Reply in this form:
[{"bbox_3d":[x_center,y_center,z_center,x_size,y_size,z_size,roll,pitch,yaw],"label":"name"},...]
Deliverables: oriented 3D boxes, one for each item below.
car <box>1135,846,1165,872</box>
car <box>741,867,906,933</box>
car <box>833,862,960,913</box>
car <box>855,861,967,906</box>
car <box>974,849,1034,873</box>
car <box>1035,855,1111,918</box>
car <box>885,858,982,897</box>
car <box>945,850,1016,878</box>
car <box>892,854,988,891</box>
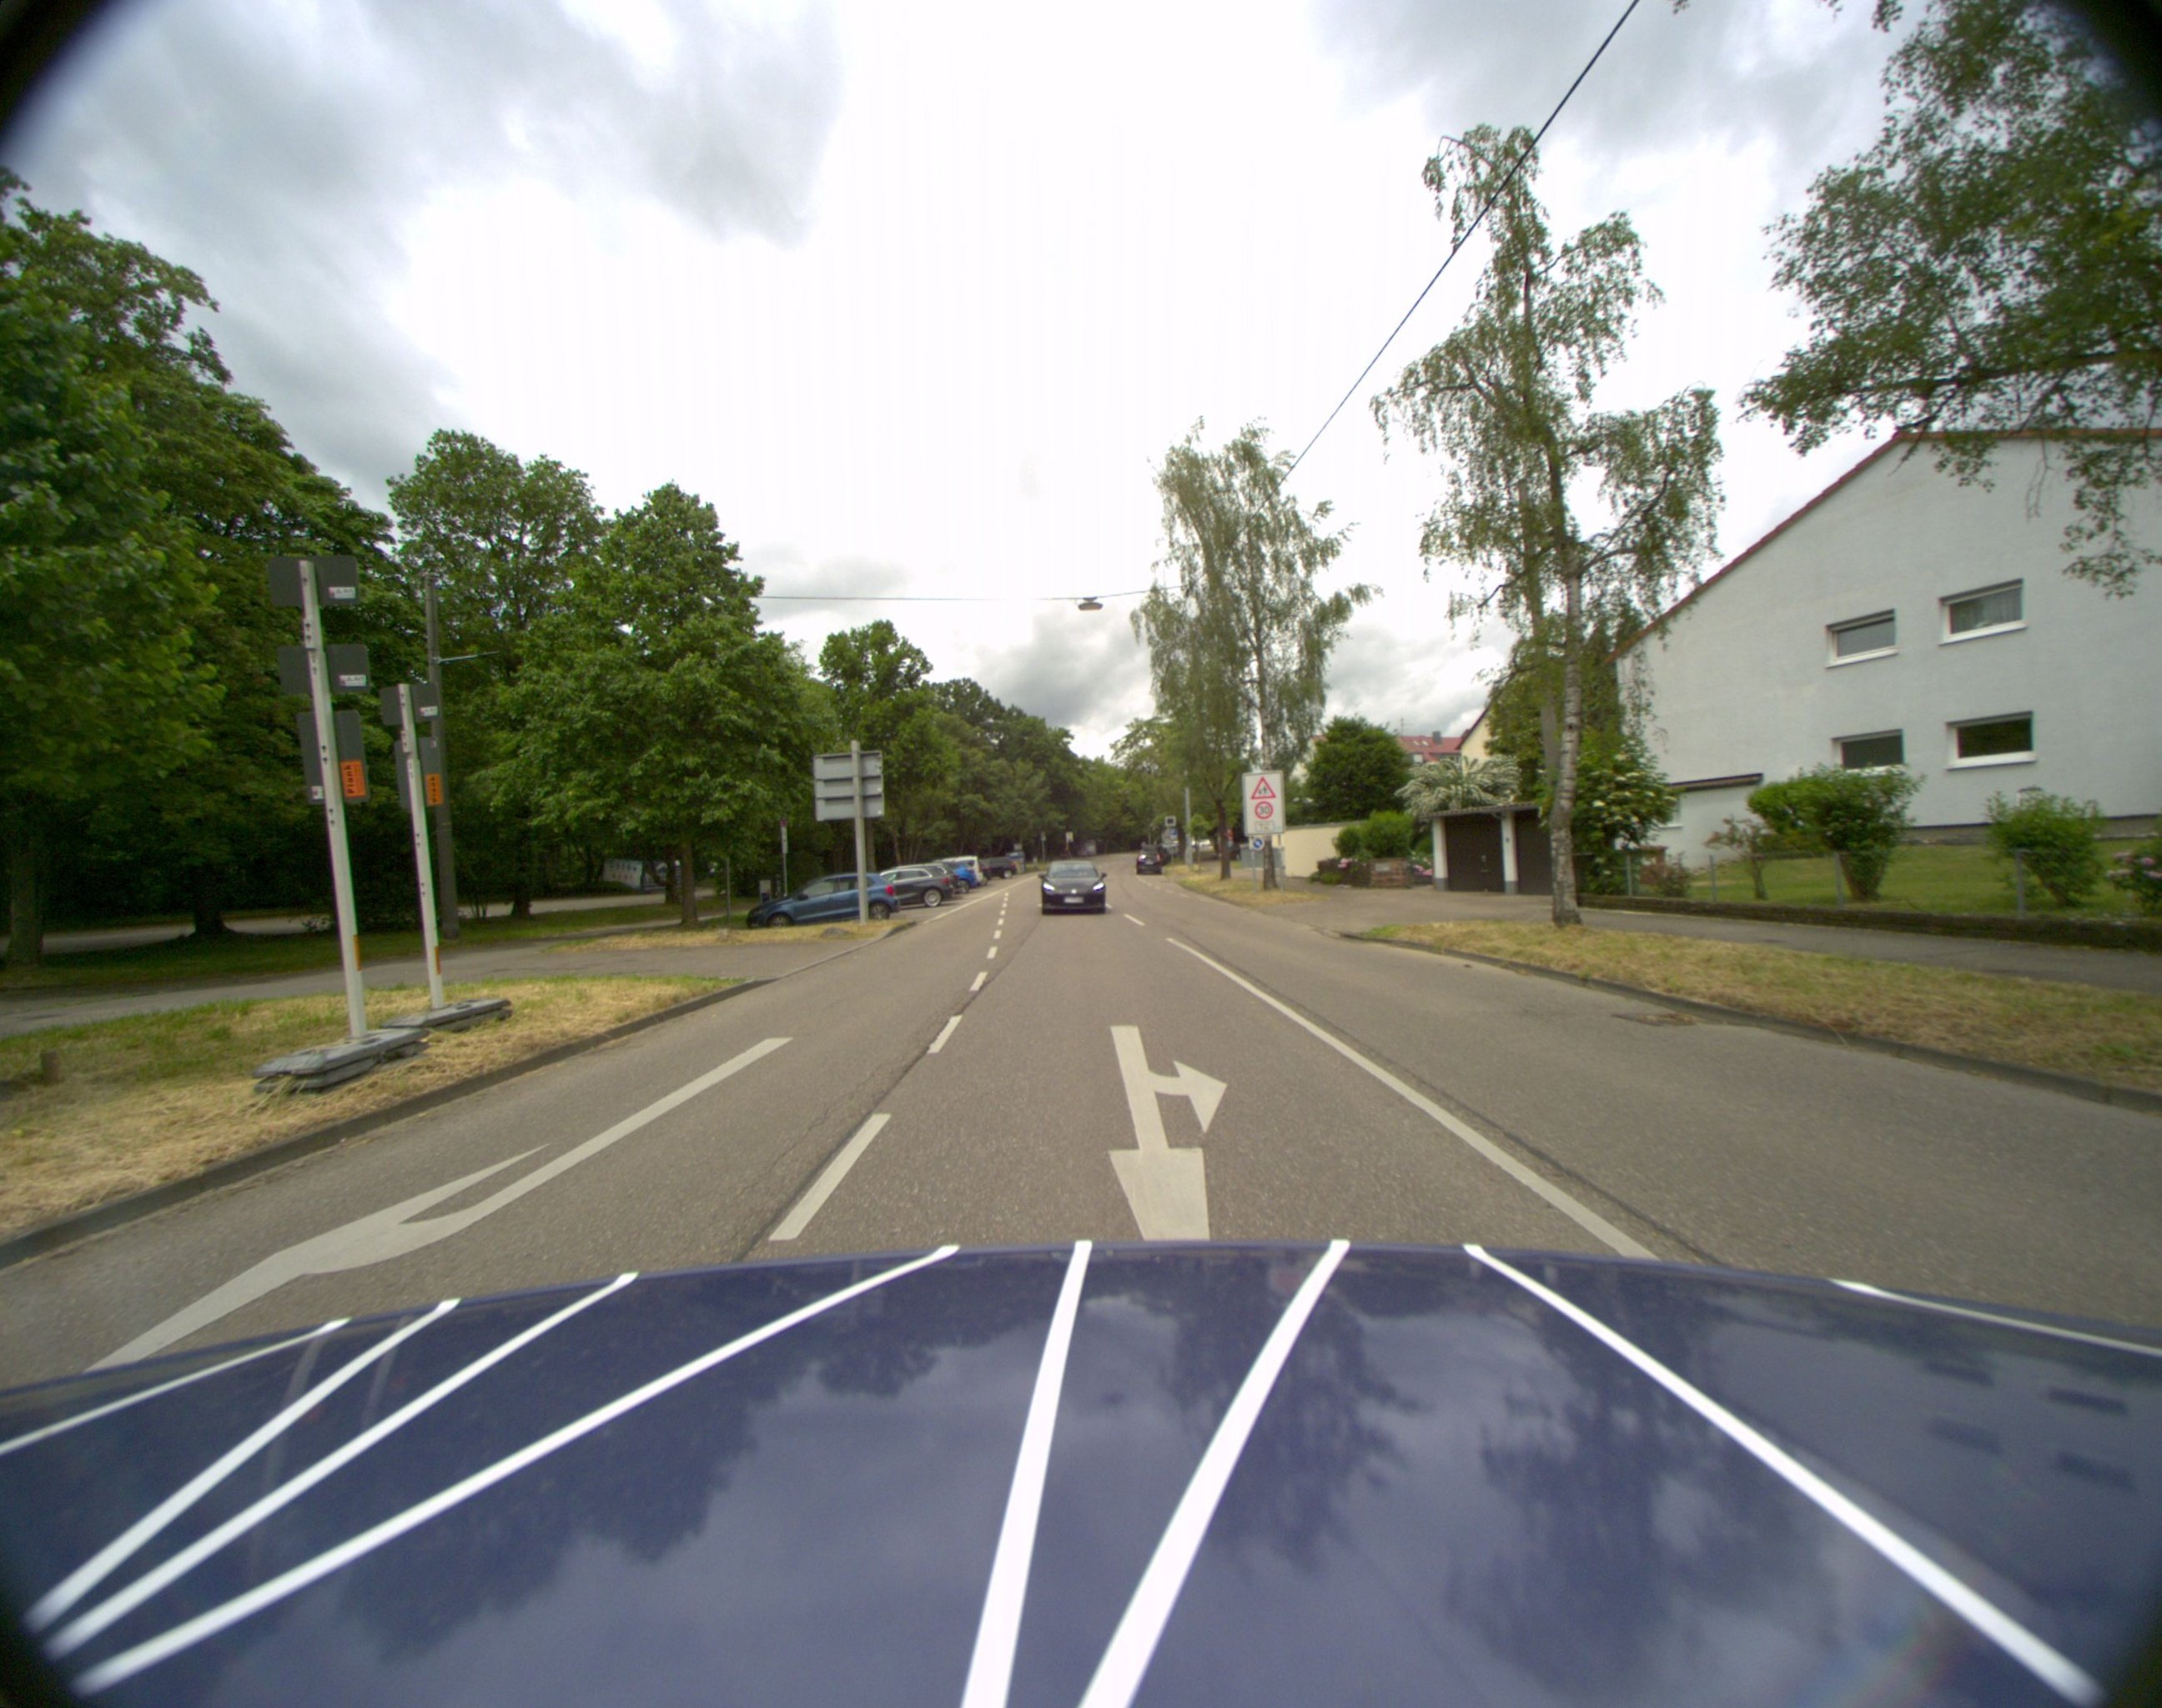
[{"bbox_3d":[4.791,0.288,52.962,1.974,1.600,4.418,-1,2,4],"label":"car"},{"bbox_3d":[-6.917,1.178,20.602,4.003,1.477,1.915,-2,1,-20],"label":"car"},{"bbox_3d":[-6.308,1.109,25.943,4.002,1.477,1.916,-2,0,-17],"label":"car"},{"bbox_3d":[-6.562,1.085,29.179,4.002,1.477,1.916,-2,0,-17],"label":"car"},{"bbox_3d":[-5.952,0.516,58.275,4.418,1.599,1.999,-3,0,-8],"label":"car"},{"bbox_3d":[-0.152,0.881,22.507,1.998,1.608,4.000,-2,0,2],"label":"car"},{"bbox_3d":[-6.592,1.010,33.877,4.002,1.477,1.916,-2,0,-17],"label":"car"},{"bbox_3d":[-6.614,0.638,49.868,4.420,1.599,1.998,-3,0,-13],"label":"car"},{"bbox_3d":[-7.193,0.909,38.736,4.423,1.599,1.997,-3,0,-22],"label":"car"}]
